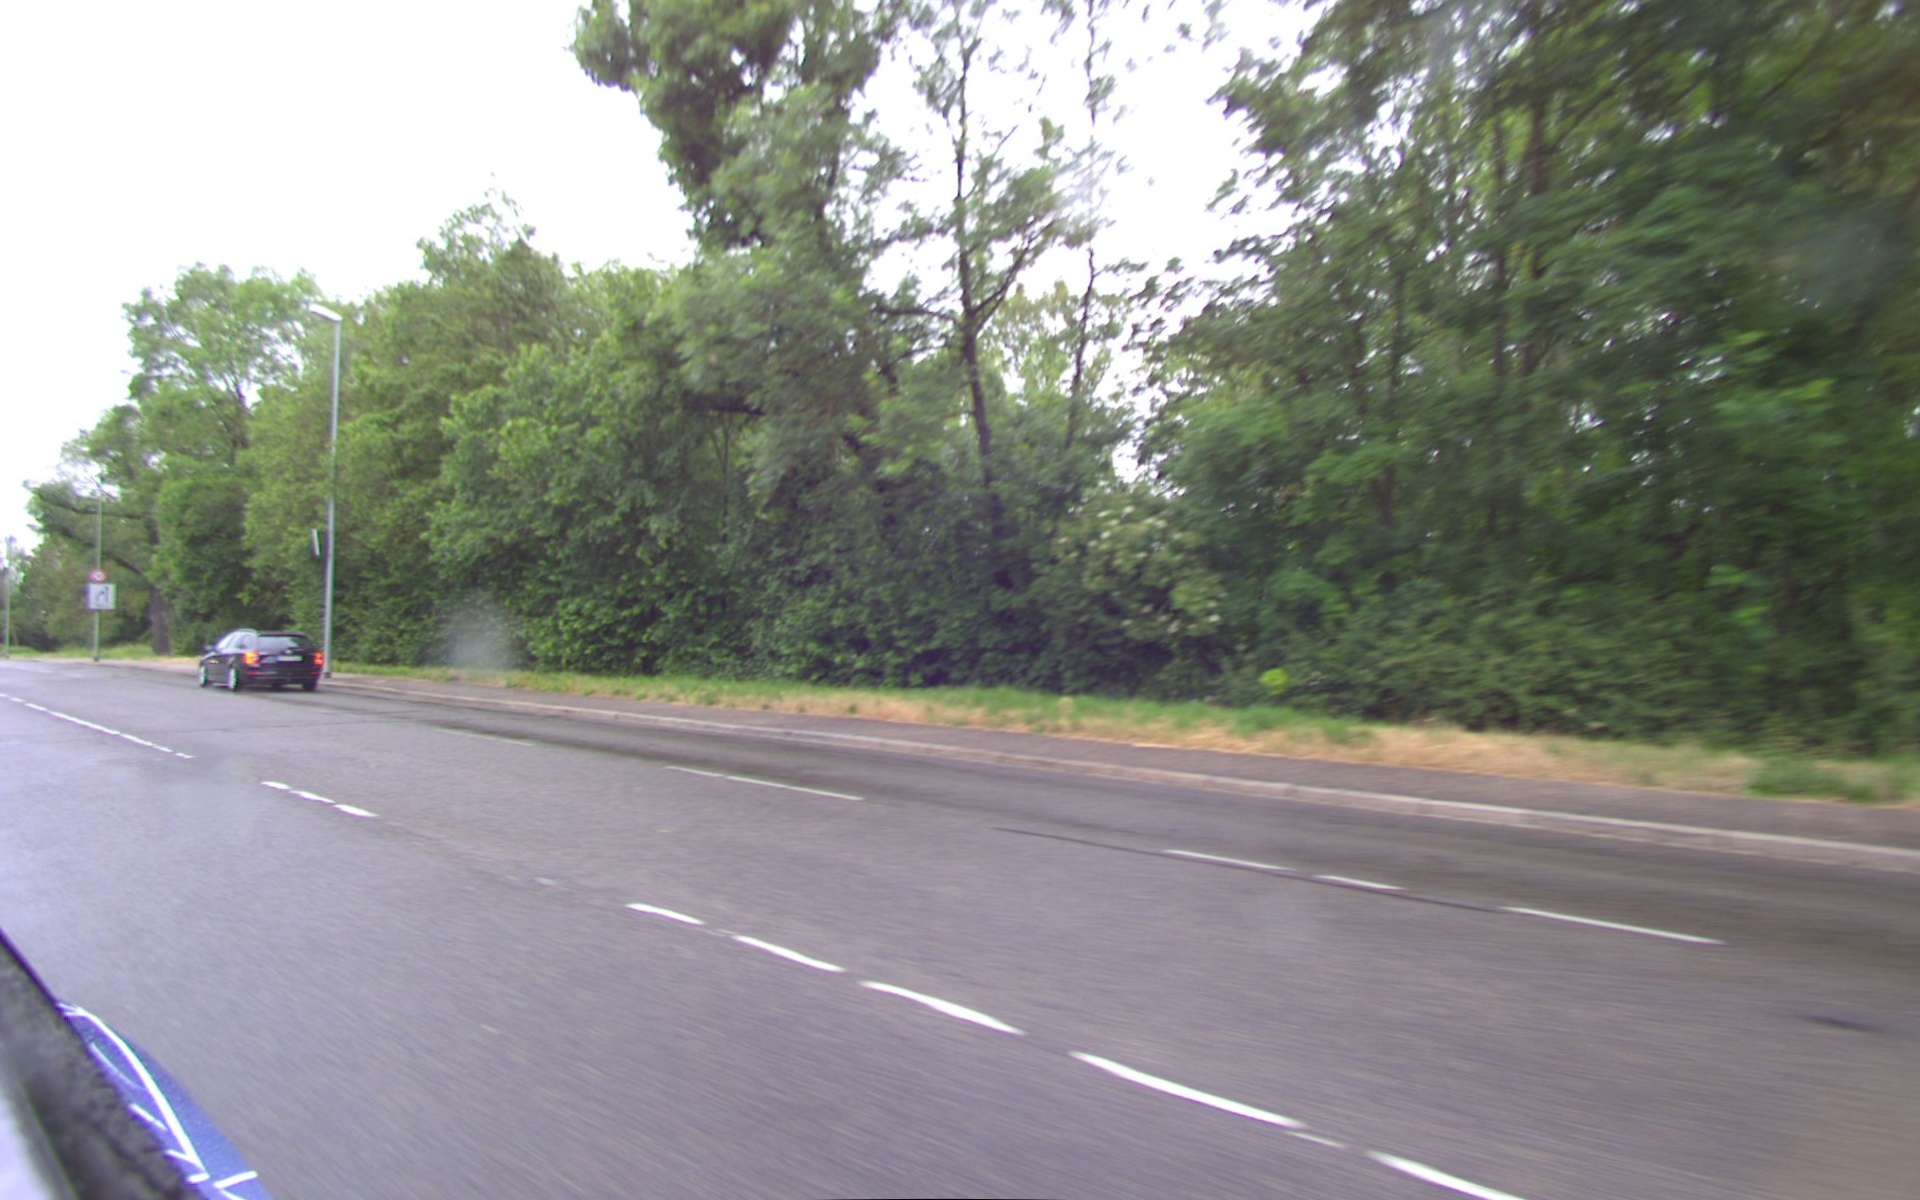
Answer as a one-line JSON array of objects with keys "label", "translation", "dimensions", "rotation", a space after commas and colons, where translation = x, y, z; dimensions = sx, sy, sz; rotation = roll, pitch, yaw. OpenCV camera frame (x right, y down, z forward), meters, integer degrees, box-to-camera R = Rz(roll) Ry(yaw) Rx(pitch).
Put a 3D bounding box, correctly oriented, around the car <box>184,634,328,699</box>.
[{"label": "car", "translation": [-17.290, 1.588, 24.776], "dimensions": [4.385, 1.443, 1.726], "rotation": [-2, -4, 40]}]
